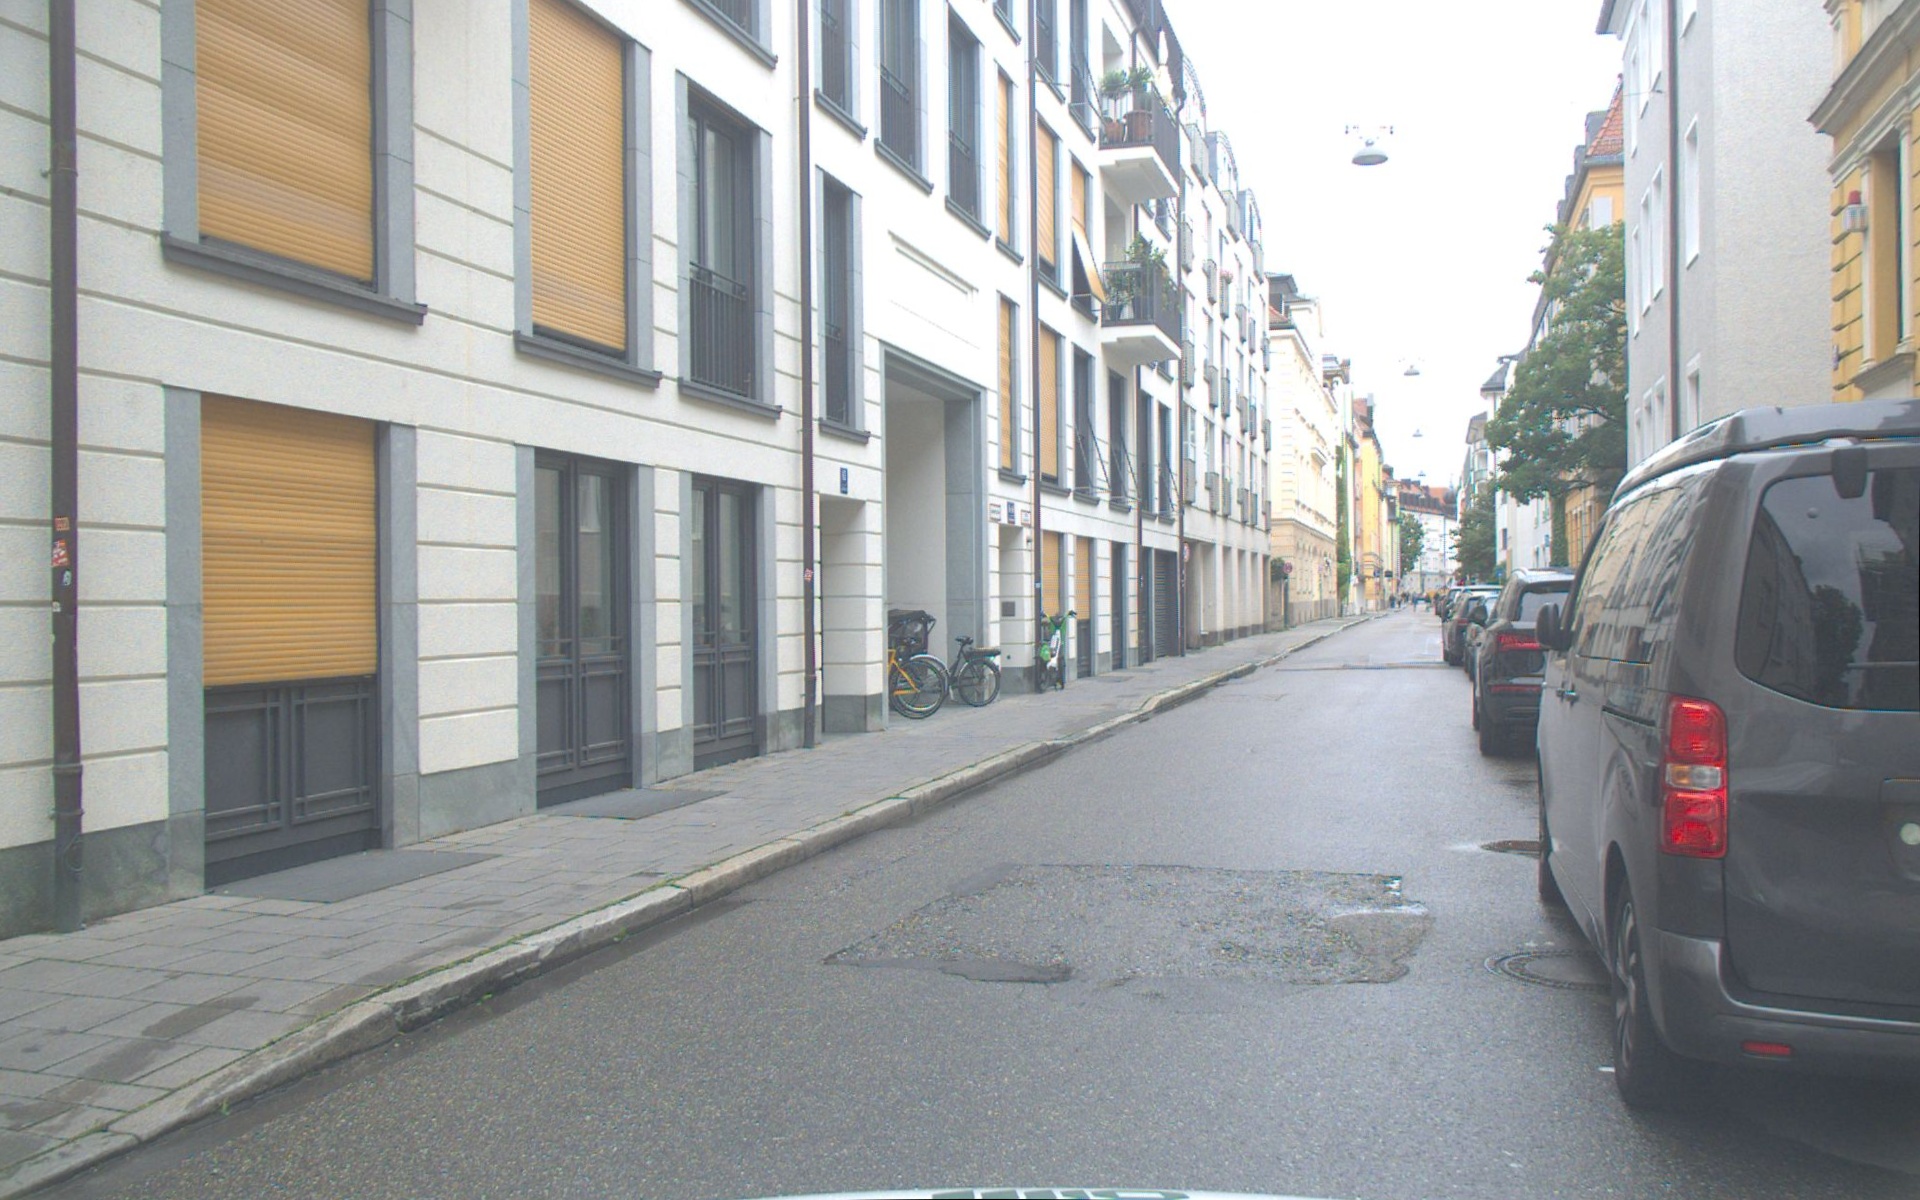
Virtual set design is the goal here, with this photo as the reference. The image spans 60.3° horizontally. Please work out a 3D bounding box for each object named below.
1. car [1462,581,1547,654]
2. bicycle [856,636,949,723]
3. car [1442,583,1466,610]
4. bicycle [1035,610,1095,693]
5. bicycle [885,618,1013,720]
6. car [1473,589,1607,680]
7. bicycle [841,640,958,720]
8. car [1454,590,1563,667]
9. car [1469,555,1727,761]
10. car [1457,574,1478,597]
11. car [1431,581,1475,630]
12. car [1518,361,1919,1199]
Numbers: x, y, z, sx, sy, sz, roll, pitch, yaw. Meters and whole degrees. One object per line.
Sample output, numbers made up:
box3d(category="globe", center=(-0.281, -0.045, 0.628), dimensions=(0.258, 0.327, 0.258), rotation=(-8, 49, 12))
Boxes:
box3d(category="car", center=(12.484, 0.367, 38.094), dimensions=(1.665, 1.573, 3.776), rotation=(-1, 0, 16))
box3d(category="bicycle", center=(-0.671, 0.923, 19.302), dimensions=(1.046, 0.964, 0.306), rotation=(-1, 1, -18))
box3d(category="car", center=(37.862, -0.286, 126.754), dimensions=(1.665, 1.950, 3.776), rotation=(-1, 0, 16))
box3d(category="bicycle", center=(1.573, 0.737, 24.536), dimensions=(0.333, 1.166, 2.192), rotation=(-2, -1, 18))
box3d(category="bicycle", center=(-0.135, 0.863, 21.054), dimensions=(1.663, 1.214, 0.376), rotation=(-1, 1, -30))
box3d(category="car", center=(9.669, 0.536, 27.828), dimensions=(1.854, 1.400, 3.799), rotation=(-1, 0, 16))
box3d(category="bicycle", center=(-0.727, 0.957, 19.999), dimensions=(1.365, 0.904, 0.378), rotation=(-1, 1, -18))
box3d(category="car", center=(10.871, 0.531, 32.984), dimensions=(1.854, 1.400, 3.943), rotation=(-1, 0, 16))
box3d(category="car", center=(5.898, 0.474, 15.767), dimensions=(1.854, 1.670, 4.325), rotation=(-1, 0, 16))
box3d(category="car", center=(49.023, -1.386, 159.683), dimensions=(1.828, 2.048, 4.002), rotation=(-4, -1, 17))
box3d(category="car", center=(20.638, 0.216, 69.387), dimensions=(1.665, 1.934, 3.776), rotation=(-1, 0, 16))
box3d(category="car", center=(3.182, 0.408, 5.988), dimensions=(1.951, 1.965, 4.663), rotation=(0, 0, 16))
